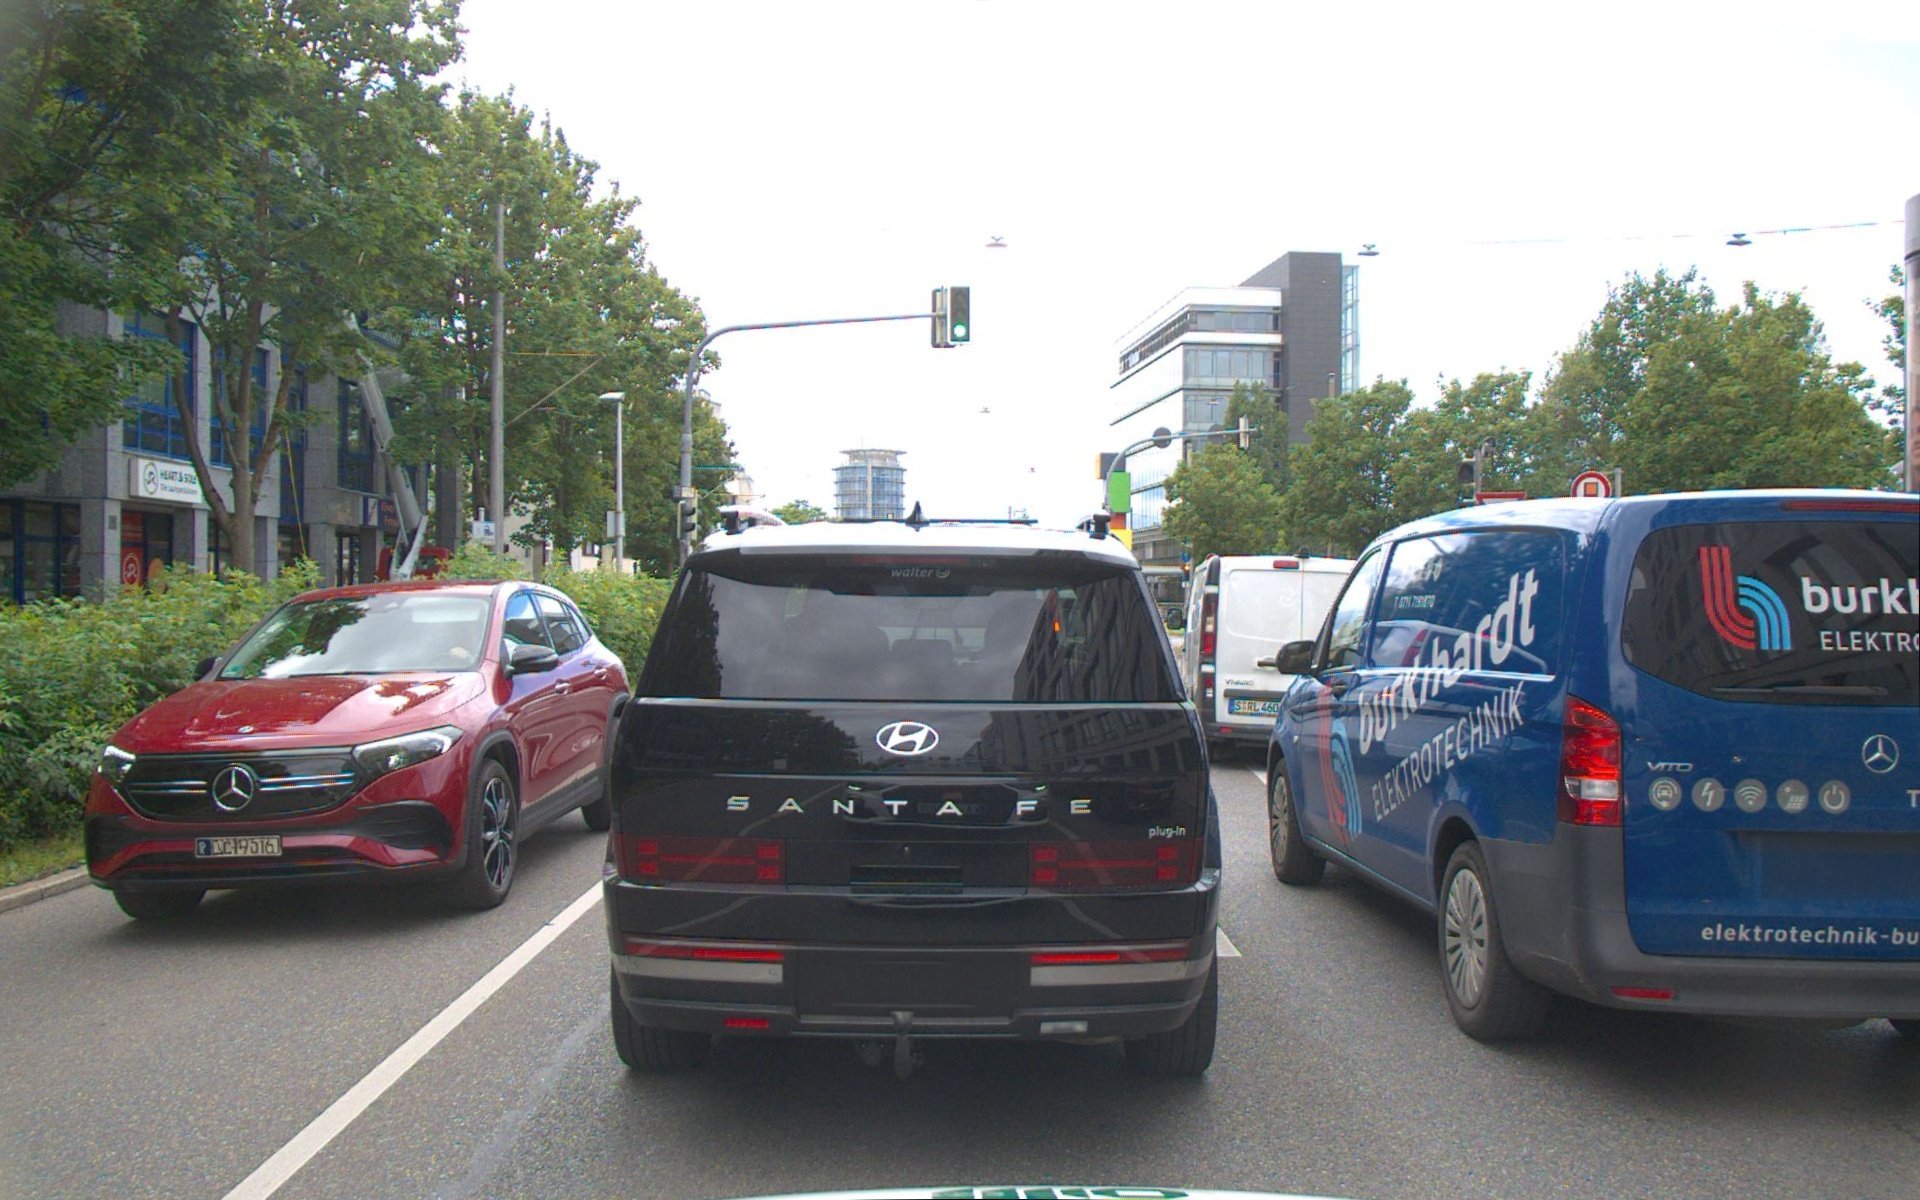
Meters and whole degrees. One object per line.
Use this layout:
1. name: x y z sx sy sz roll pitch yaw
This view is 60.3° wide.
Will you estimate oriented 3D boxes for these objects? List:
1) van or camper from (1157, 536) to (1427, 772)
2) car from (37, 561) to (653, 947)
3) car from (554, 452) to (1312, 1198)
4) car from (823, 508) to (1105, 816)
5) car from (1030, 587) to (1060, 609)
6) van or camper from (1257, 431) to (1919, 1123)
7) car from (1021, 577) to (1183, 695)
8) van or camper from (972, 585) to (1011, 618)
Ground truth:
1. van or camper: 3.196 0.469 16.875 1.952 2.049 4.654 1 0 2
2. car: -3.053 0.679 9.241 1.809 1.608 4.116 -2 0 1
3. car: -0.086 0.533 5.933 1.831 1.791 3.879 0 0 -1
4. car: 0.000 0.405 12.922 1.876 2.038 3.879 0 0 -1
5. car: 6.742 -0.146 131.212 1.954 1.713 3.997 1 0 -3
6. van or camper: 2.683 0.488 7.186 1.822 1.944 5.031 0 0 -1
7. car: 2.401 0.549 26.843 1.738 1.747 4.340 0 -1 17
8. van or camper: 2.555 0.175 133.897 1.951 2.591 6.583 1 0 12
